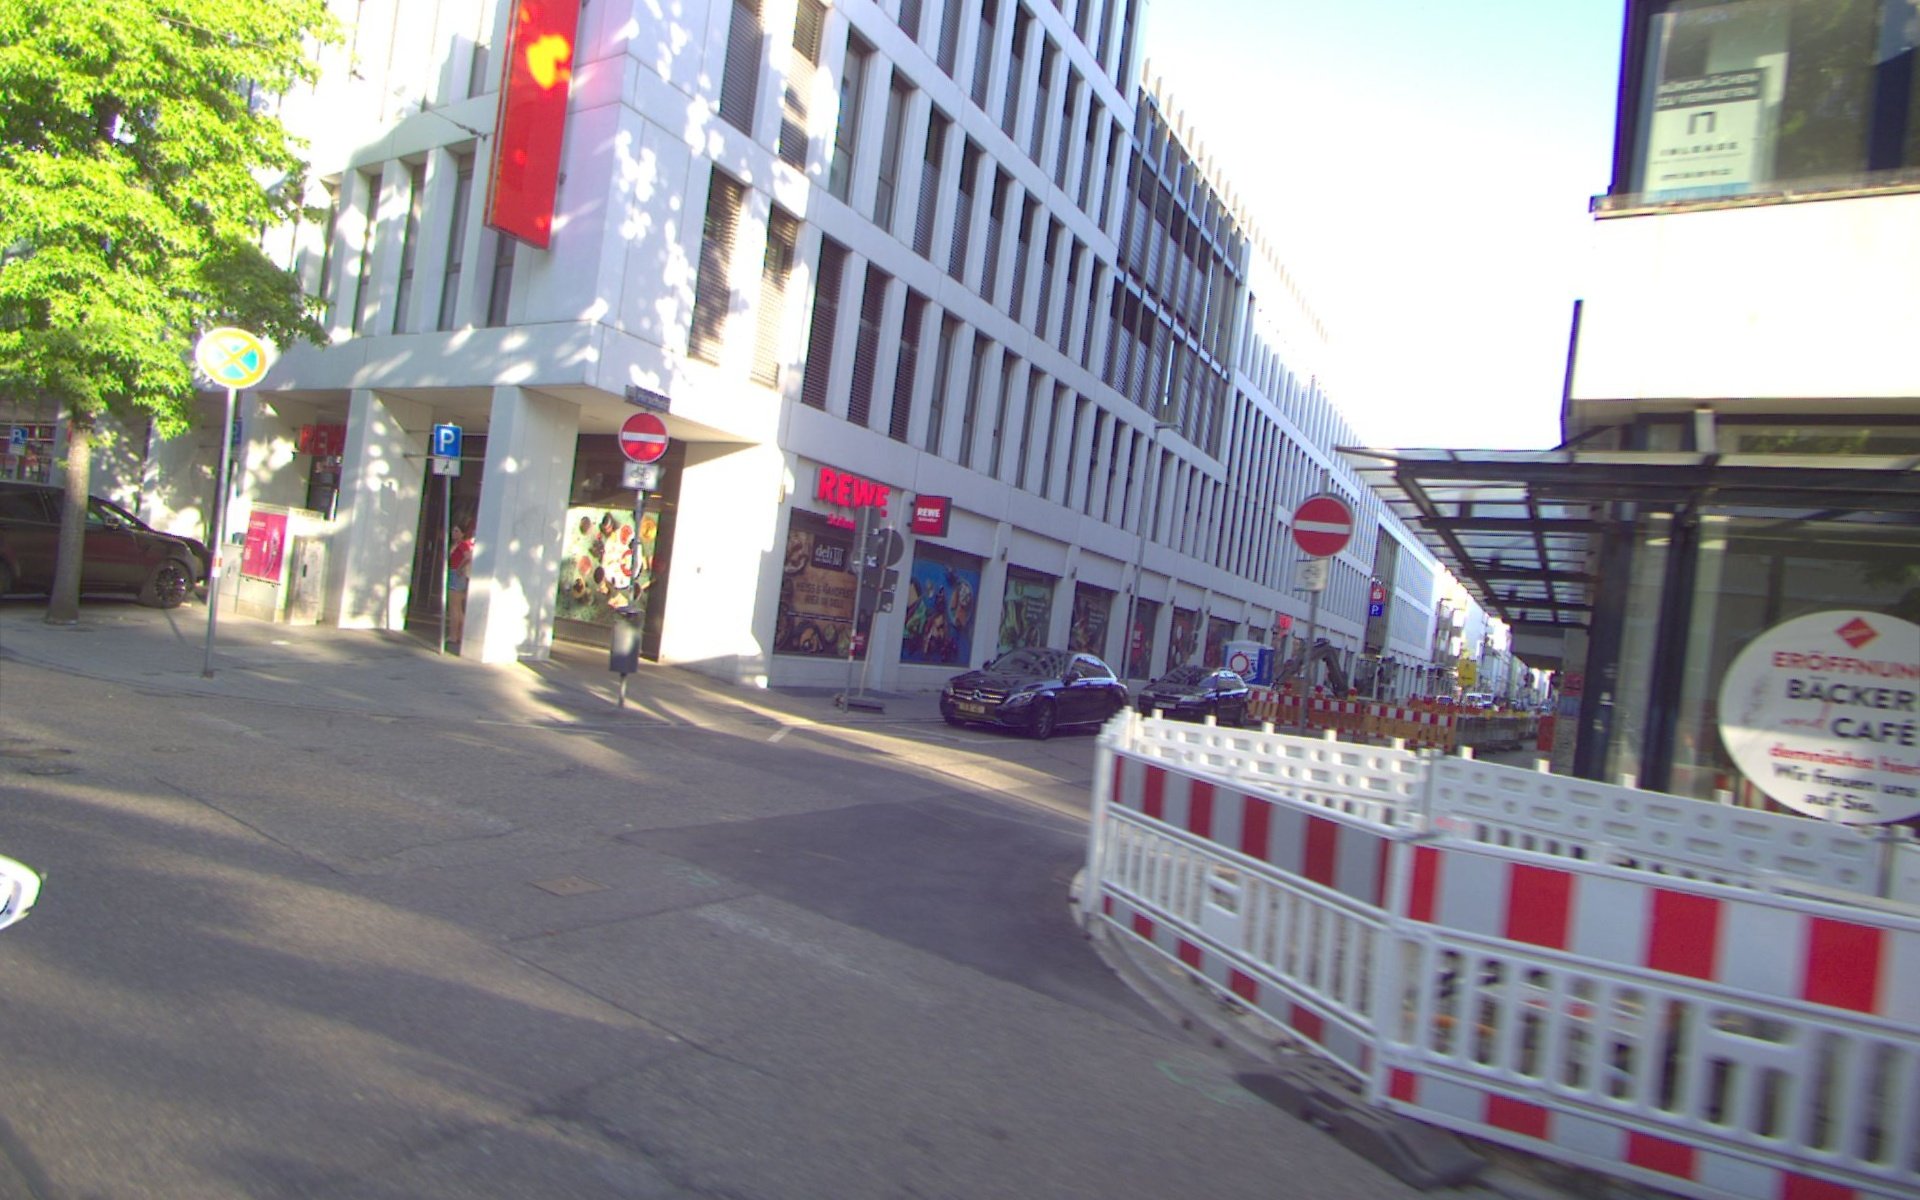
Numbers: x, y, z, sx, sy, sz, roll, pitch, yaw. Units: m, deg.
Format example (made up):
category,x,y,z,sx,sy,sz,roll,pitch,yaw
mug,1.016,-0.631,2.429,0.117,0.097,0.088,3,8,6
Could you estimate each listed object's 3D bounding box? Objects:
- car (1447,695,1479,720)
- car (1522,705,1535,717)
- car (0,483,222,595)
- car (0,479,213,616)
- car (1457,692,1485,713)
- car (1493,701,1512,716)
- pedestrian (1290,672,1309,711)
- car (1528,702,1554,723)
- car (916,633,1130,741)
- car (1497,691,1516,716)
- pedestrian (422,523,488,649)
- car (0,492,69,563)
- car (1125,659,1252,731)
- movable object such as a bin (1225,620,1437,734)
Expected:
category,x,y,z,sx,sy,sz,roll,pitch,yaw
car,39.298,8.372,78.543,1.798,1.637,4.078,7,-2,32
car,107.618,21.035,190.472,1.798,1.836,5.088,7,-2,32
car,-15.700,-1.066,17.353,1.970,1.676,4.667,7,1,9
car,-13.460,-0.793,14.261,1.957,1.786,4.665,6,1,3
car,46.250,9.283,90.948,1.798,1.570,4.078,7,-2,32
car,72.310,14.465,134.056,1.798,1.637,4.078,7,-2,32
pedestrian,15.765,4.242,46.729,0.485,1.755,0.639,7,0,32
car,53.427,10.351,92.495,1.798,1.637,4.078,7,-2,32
car,1.221,1.496,17.048,1.767,1.434,4.325,5,-3,30
car,77.486,14.676,142.549,1.798,3.166,5.087,7,-1,32
pedestrian,-7.828,-0.218,15.622,0.746,1.841,0.798,5,1,-25
car,-21.454,-1.637,20.640,1.941,1.488,5.055,6,1,-3
car,5.753,2.361,24.907,1.767,1.434,4.325,5,-3,30
movable object such as a bin,12.773,2.714,34.217,8.150,2.943,2.795,9,-2,-39
